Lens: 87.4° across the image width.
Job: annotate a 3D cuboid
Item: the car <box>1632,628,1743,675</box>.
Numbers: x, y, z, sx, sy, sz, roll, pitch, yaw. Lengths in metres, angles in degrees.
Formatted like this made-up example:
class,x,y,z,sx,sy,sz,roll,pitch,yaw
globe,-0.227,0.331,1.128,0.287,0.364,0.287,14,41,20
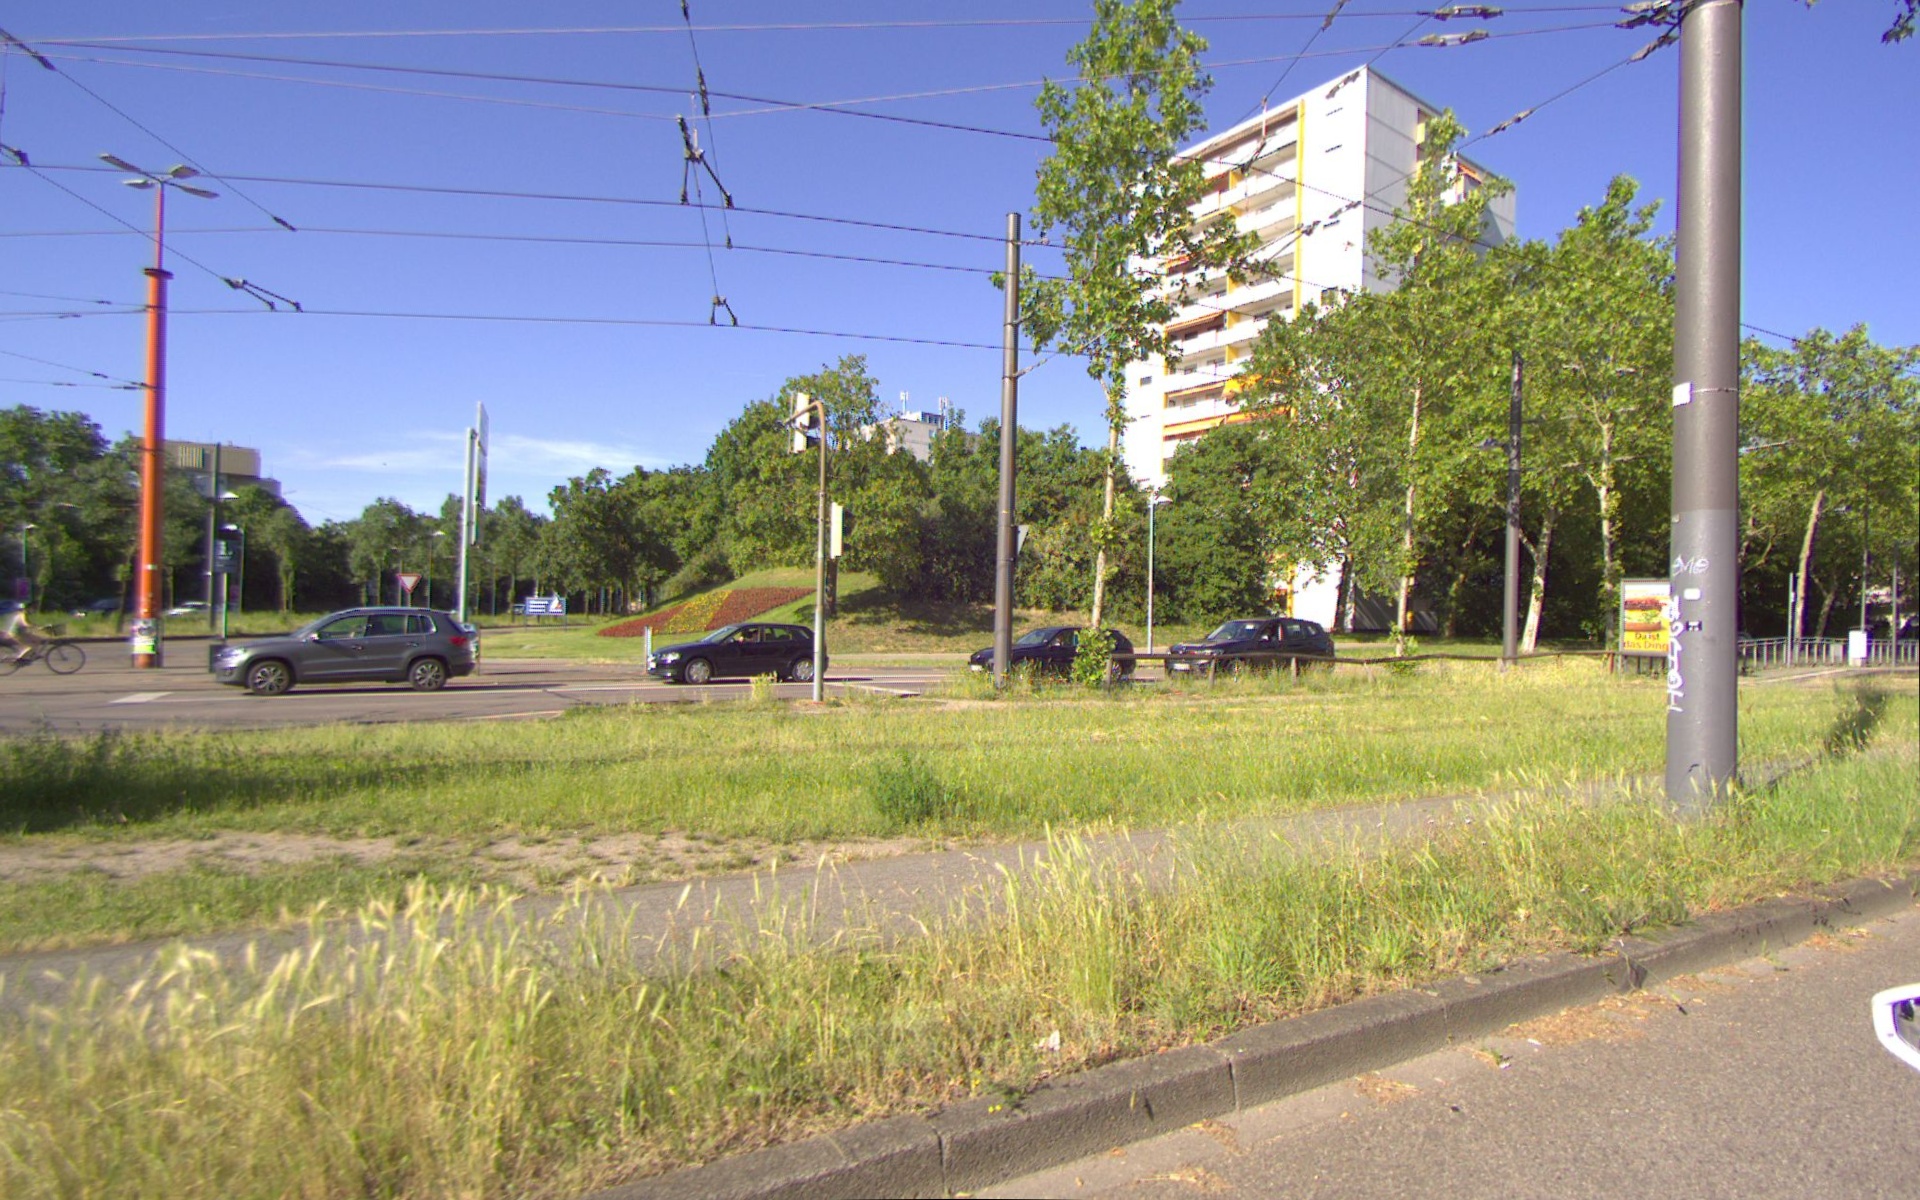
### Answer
class,x,y,z,sx,sy,sz,roll,pitch,yaw
car,26.853,1.892,37.036,4.217,1.629,1.786,2,-1,-30

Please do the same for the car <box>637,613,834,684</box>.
class,x,y,z,sx,sy,sz,roll,pitch,yaw
car,-5.313,1.129,23.897,4.221,1.530,1.784,2,-1,-33

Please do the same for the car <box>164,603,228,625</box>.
class,x,y,z,sx,sy,sz,roll,pitch,yaw
car,-55.473,1.048,73.046,1.765,1.530,3.998,1,-1,-4

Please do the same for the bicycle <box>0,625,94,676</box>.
class,x,y,z,sx,sy,sz,roll,pitch,yaw
bicycle,-21.465,1.161,23.350,2.029,1.122,0.652,0,-2,-42

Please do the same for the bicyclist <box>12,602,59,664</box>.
class,x,y,z,sx,sy,sz,roll,pitch,yaw
bicyclist,-21.481,0.765,23.356,0.785,1.398,0.652,0,-2,-42

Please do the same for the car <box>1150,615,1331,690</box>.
class,x,y,z,sx,sy,sz,roll,pitch,yaw
car,6.757,1.236,24.106,4.184,1.638,1.786,2,-1,-30

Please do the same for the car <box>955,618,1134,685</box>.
class,x,y,z,sx,sy,sz,roll,pitch,yaw
car,2.140,1.271,25.143,4.217,1.530,1.786,2,-1,-30

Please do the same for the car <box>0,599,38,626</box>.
class,x,y,z,sx,sy,sz,roll,pitch,yaw
car,-54.917,0.692,56.907,1.765,1.530,3.998,1,-1,-4

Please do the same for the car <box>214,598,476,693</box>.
class,x,y,z,sx,sy,sz,roll,pitch,yaw
car,-12.003,0.885,19.893,4.217,1.700,1.786,2,-1,-30
